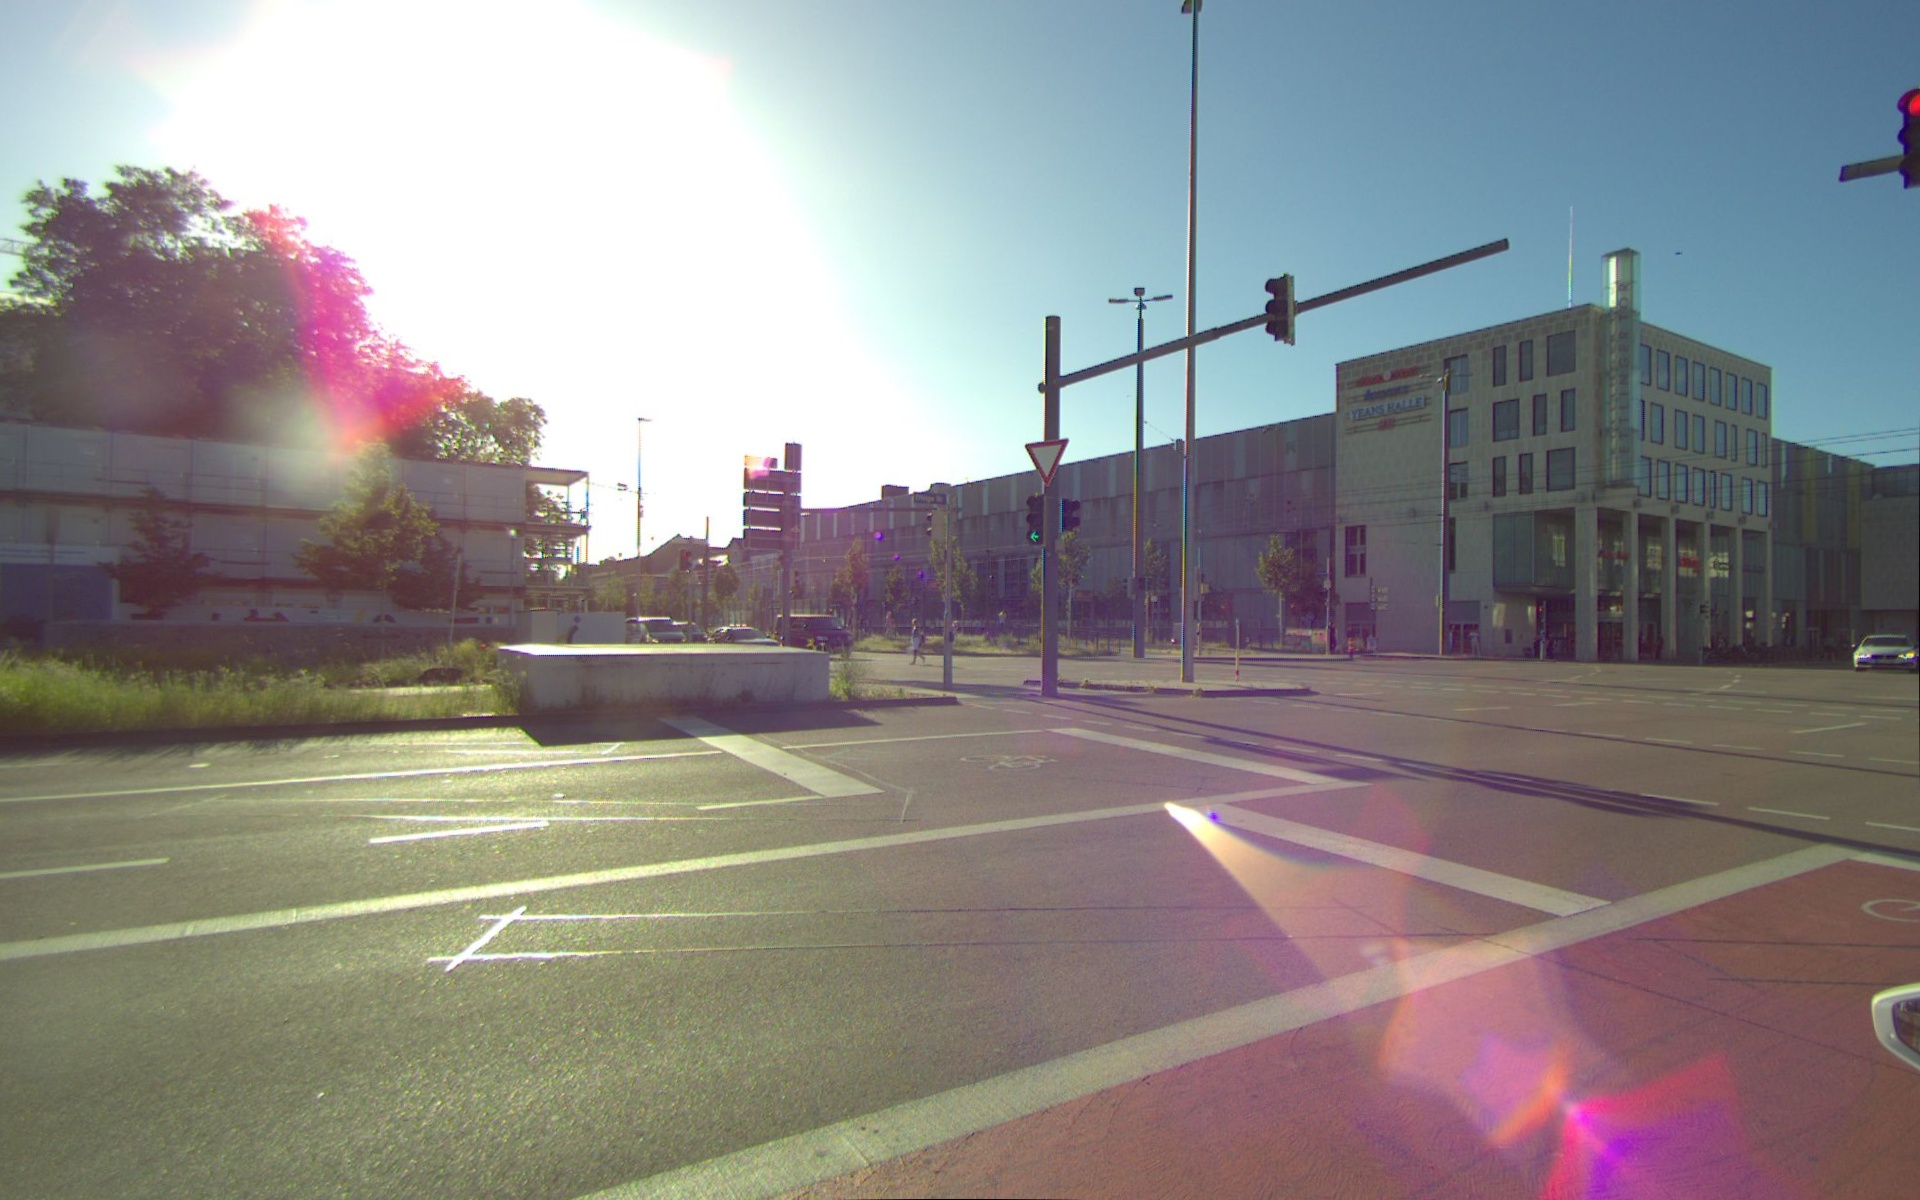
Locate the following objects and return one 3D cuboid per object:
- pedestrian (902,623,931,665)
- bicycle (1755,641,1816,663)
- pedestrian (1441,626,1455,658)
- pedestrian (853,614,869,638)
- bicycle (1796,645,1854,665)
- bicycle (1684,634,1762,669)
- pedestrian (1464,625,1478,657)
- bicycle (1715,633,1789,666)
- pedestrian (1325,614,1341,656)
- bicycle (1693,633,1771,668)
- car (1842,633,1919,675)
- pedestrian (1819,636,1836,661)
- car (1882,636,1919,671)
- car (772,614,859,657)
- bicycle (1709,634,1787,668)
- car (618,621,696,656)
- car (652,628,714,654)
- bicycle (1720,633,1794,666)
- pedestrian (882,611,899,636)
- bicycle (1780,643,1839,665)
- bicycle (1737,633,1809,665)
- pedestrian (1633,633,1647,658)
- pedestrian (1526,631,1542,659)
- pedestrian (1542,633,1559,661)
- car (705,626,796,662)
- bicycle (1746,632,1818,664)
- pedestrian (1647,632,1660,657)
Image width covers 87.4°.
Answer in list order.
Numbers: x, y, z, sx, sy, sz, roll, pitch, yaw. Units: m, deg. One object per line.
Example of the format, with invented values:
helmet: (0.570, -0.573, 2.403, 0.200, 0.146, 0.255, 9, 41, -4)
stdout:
pedestrian: (-1.611, 1.602, 37.066, 0.796, 1.522, 0.716, 1, -1, -40)
bicycle: (55.654, 3.484, 67.770, 0.893, 1.419, 3.032, 1, -2, -34)
pedestrian: (31.566, 2.688, 64.987, 0.512, 2.040, 0.618, 1, -1, -39)
pedestrian: (-6.502, 1.709, 66.194, 0.718, 1.522, 0.794, 1, -1, -39)
bicycle: (62.002, 3.926, 72.034, 0.893, 1.419, 3.032, 1, -2, -34)
bicycle: (46.186, 3.099, 60.850, 1.077, 2.040, 3.593, 1, -2, -38)
pedestrian: (33.130, 2.661, 65.104, 0.512, 2.040, 0.618, 1, -1, -39)
bicycle: (50.710, 3.136, 64.368, 1.075, 2.040, 3.598, 1, -2, -34)
pedestrian: (18.273, 1.698, 49.220, 0.620, 2.040, 0.509, 1, -1, -44)
bicycle: (47.290, 3.055, 61.583, 1.075, 2.040, 3.598, 1, -2, -34)
car: (35.688, 2.054, 39.033, 1.970, 1.374, 4.624, -1, -1, 40)
pedestrian: (56.671, 3.170, 65.637, 0.731, 1.629, 0.623, 0, -1, 32)
car: (44.664, 2.462, 46.524, 3.993, 1.550, 1.982, 1, -2, -33)
car: (-6.646, 1.617, 45.933, 1.856, 1.834, 4.604, 4, -4, -38)
bicycle: (48.664, 3.102, 62.088, 1.075, 2.040, 3.598, 1, -2, -34)
car: (-14.949, 1.893, 49.398, 2.119, 1.631, 4.604, 4, -4, -38)
car: (-16.195, 2.386, 58.573, 1.856, 1.450, 4.604, 4, -4, -38)
bicycle: (51.615, 3.176, 65.069, 1.075, 2.040, 3.598, 1, -2, -34)
pedestrian: (-4.269, 1.442, 61.411, 0.718, 1.522, 0.794, 1, -1, -39)
bicycle: (59.307, 3.757, 70.183, 0.893, 1.419, 3.032, 1, -2, -34)
bicycle: (53.427, 3.190, 66.061, 0.893, 2.040, 3.598, 1, -2, -34)
pedestrian: (44.837, 2.996, 66.220, 0.613, 1.629, 0.653, 0, -1, 24)
pedestrian: (34.398, 2.698, 60.213, 0.646, 1.629, 0.619, 1, -1, -32)
pedestrian: (34.862, 2.753, 59.315, 0.646, 1.629, 0.619, 1, -1, -32)
car: (-8.776, 1.811, 41.765, 1.856, 1.392, 4.604, 4, -4, -38)
bicycle: (54.910, 3.190, 67.136, 0.893, 2.040, 3.598, 1, -2, -34)
pedestrian: (45.682, 2.938, 66.162, 0.613, 1.629, 0.653, 0, -1, 24)
